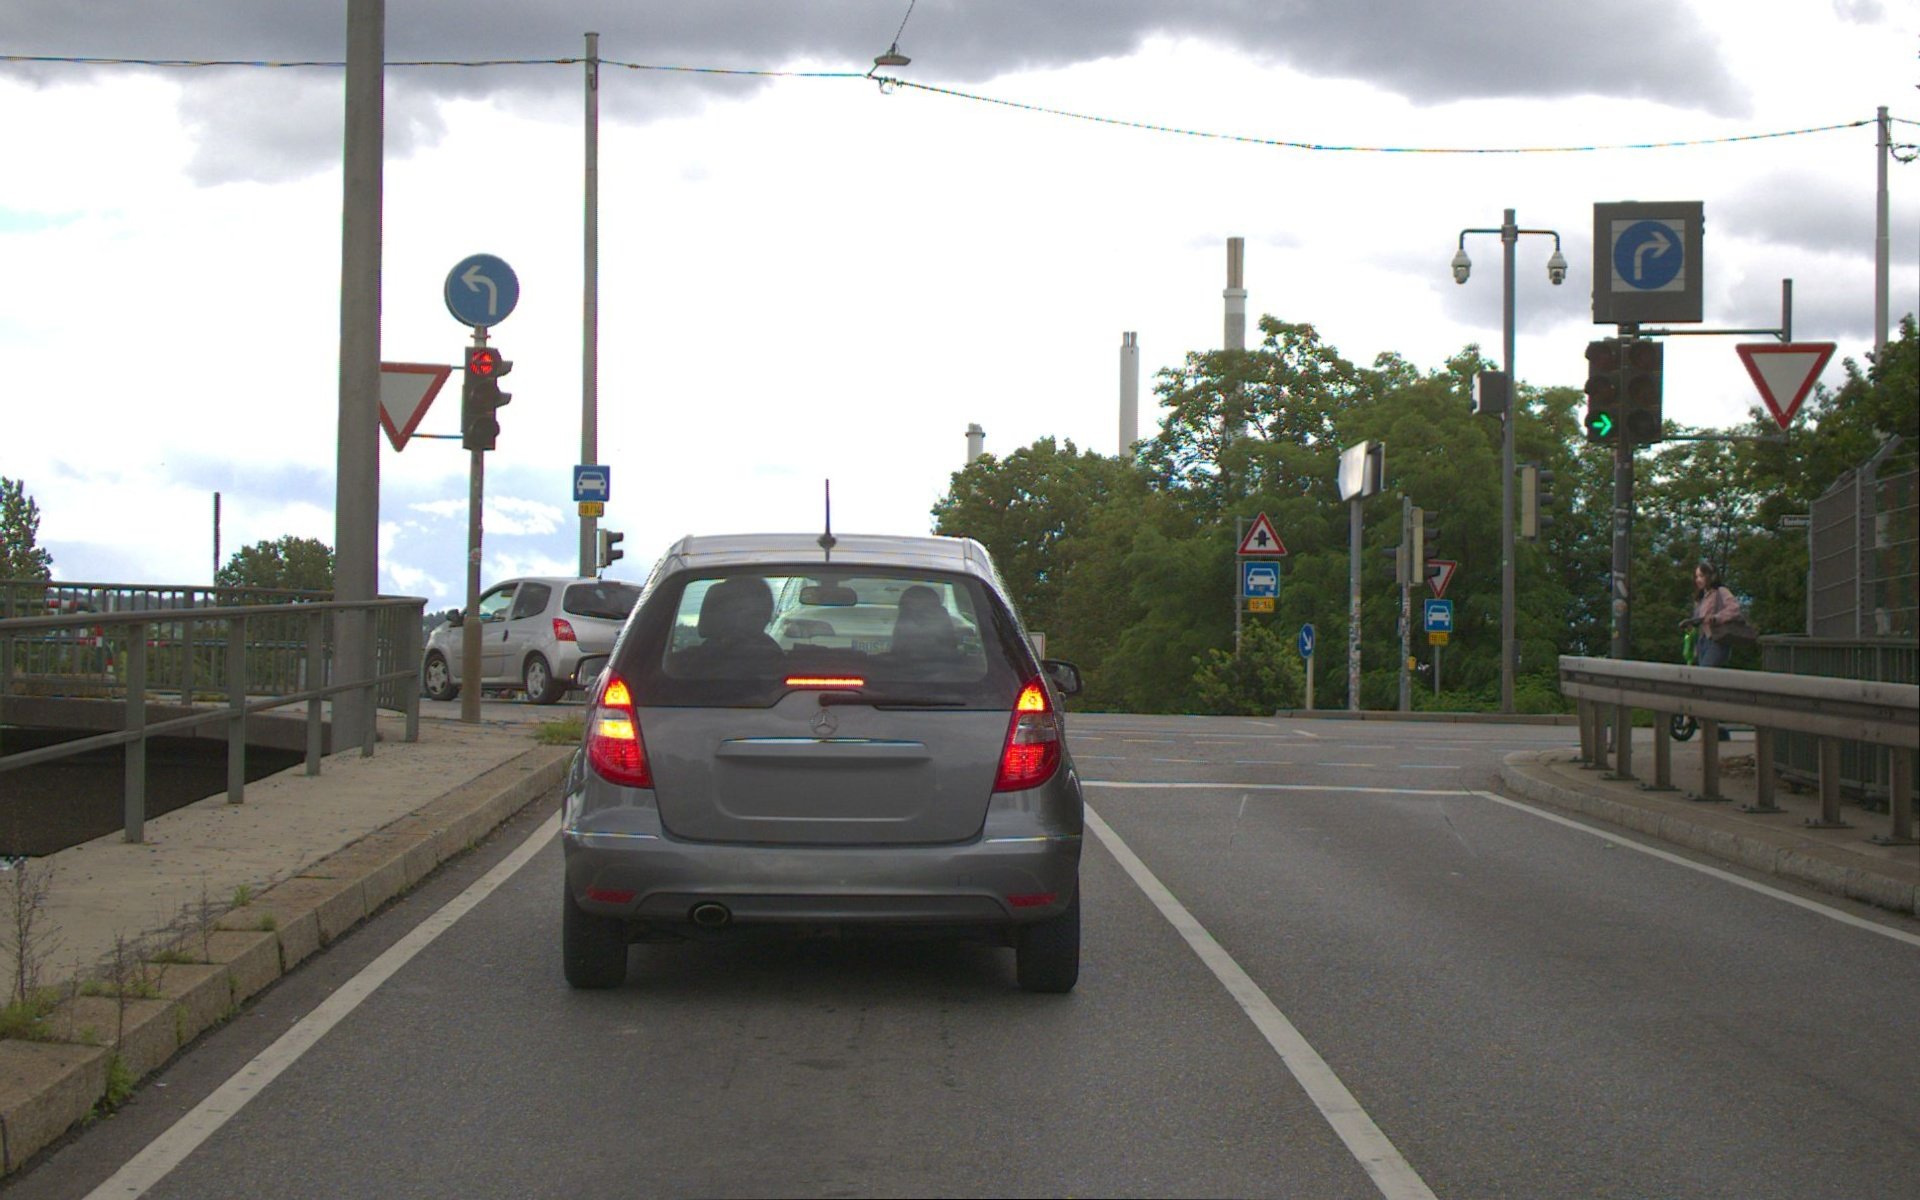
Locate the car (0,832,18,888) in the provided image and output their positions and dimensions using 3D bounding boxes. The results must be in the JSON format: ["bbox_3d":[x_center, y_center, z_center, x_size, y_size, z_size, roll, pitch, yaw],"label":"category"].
[{"bbox_3d":[-34.317,9.093,119.718,1.931,1.835,4.410,0,-2,-2],"label":"car"}]

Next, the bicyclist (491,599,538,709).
[{"bbox_3d":[-6.904,0.833,53.229,0.653,1.668,0.870,0,1,-12],"label":"bicyclist"}]

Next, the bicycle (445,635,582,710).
[{"bbox_3d":[-6.917,1.117,53.218,2.032,1.121,0.929,0,1,-12],"label":"bicycle"}]

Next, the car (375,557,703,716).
[{"bbox_3d":[-4.892,0.372,39.567,1.932,1.711,3.999,0,1,-39],"label":"car"}]

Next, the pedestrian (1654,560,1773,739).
[{"bbox_3d":[7.137,0.480,32.598,0.832,1.672,0.979,0,-2,-4],"label":"pedestrian"}]

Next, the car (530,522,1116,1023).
[{"bbox_3d":[-0.412,0.511,12.945,1.858,1.583,4.000,0,1,1],"label":"car"}]

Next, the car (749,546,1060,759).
[{"bbox_3d":[-0.573,0.390,29.963,1.930,1.711,4.407,0,1,-11],"label":"car"}]
